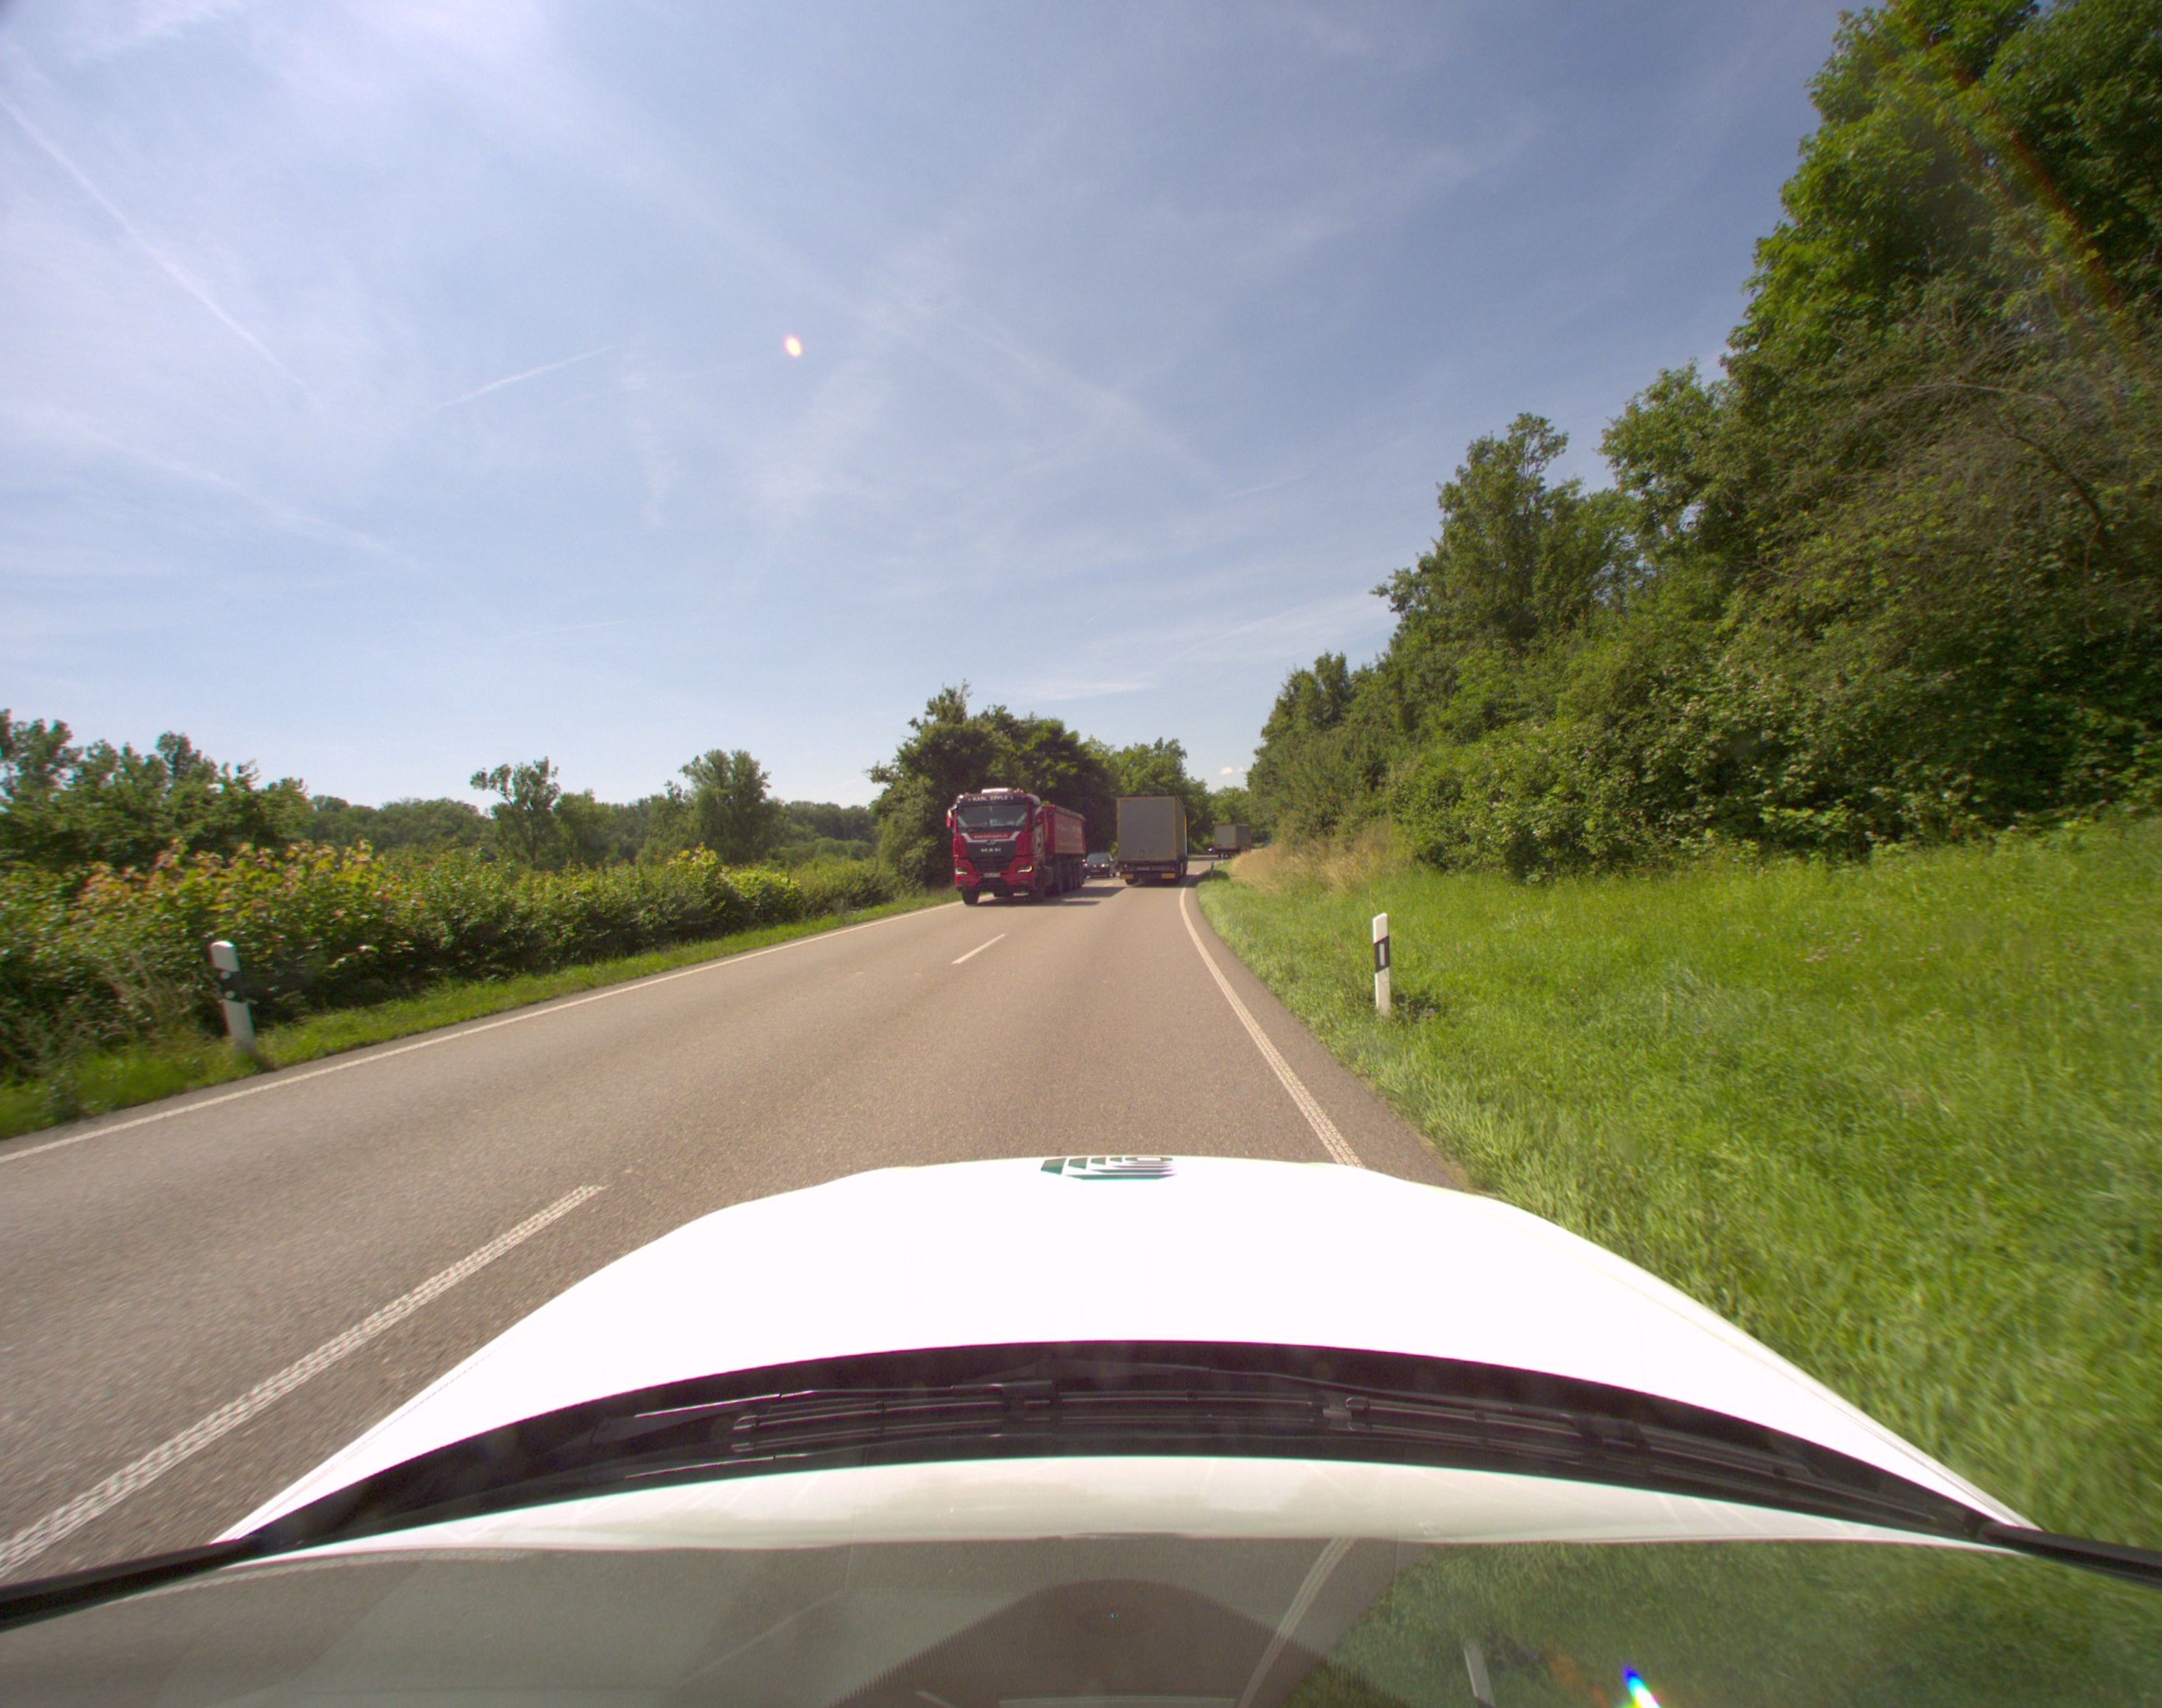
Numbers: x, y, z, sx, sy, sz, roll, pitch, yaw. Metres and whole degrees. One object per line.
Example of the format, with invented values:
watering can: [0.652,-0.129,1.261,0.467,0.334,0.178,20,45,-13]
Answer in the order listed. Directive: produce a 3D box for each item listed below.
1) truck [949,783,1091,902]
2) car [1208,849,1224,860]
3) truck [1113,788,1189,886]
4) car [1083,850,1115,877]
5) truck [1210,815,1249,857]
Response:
truck: [-1.762,-0.357,30.473,2.538,3.452,12.663,-2,0,8]
car: [18.831,0.024,113.442,1.657,1.531,3.976,-1,0,17]
truck: [3.934,-0.802,41.918,2.785,4.068,15.364,-1,1,9]
car: [1.076,0.535,48.118,1.421,1.471,3.281,-2,0,9]
truck: [18.658,-2.300,101.154,3.081,4.705,16.660,-2,1,16]
